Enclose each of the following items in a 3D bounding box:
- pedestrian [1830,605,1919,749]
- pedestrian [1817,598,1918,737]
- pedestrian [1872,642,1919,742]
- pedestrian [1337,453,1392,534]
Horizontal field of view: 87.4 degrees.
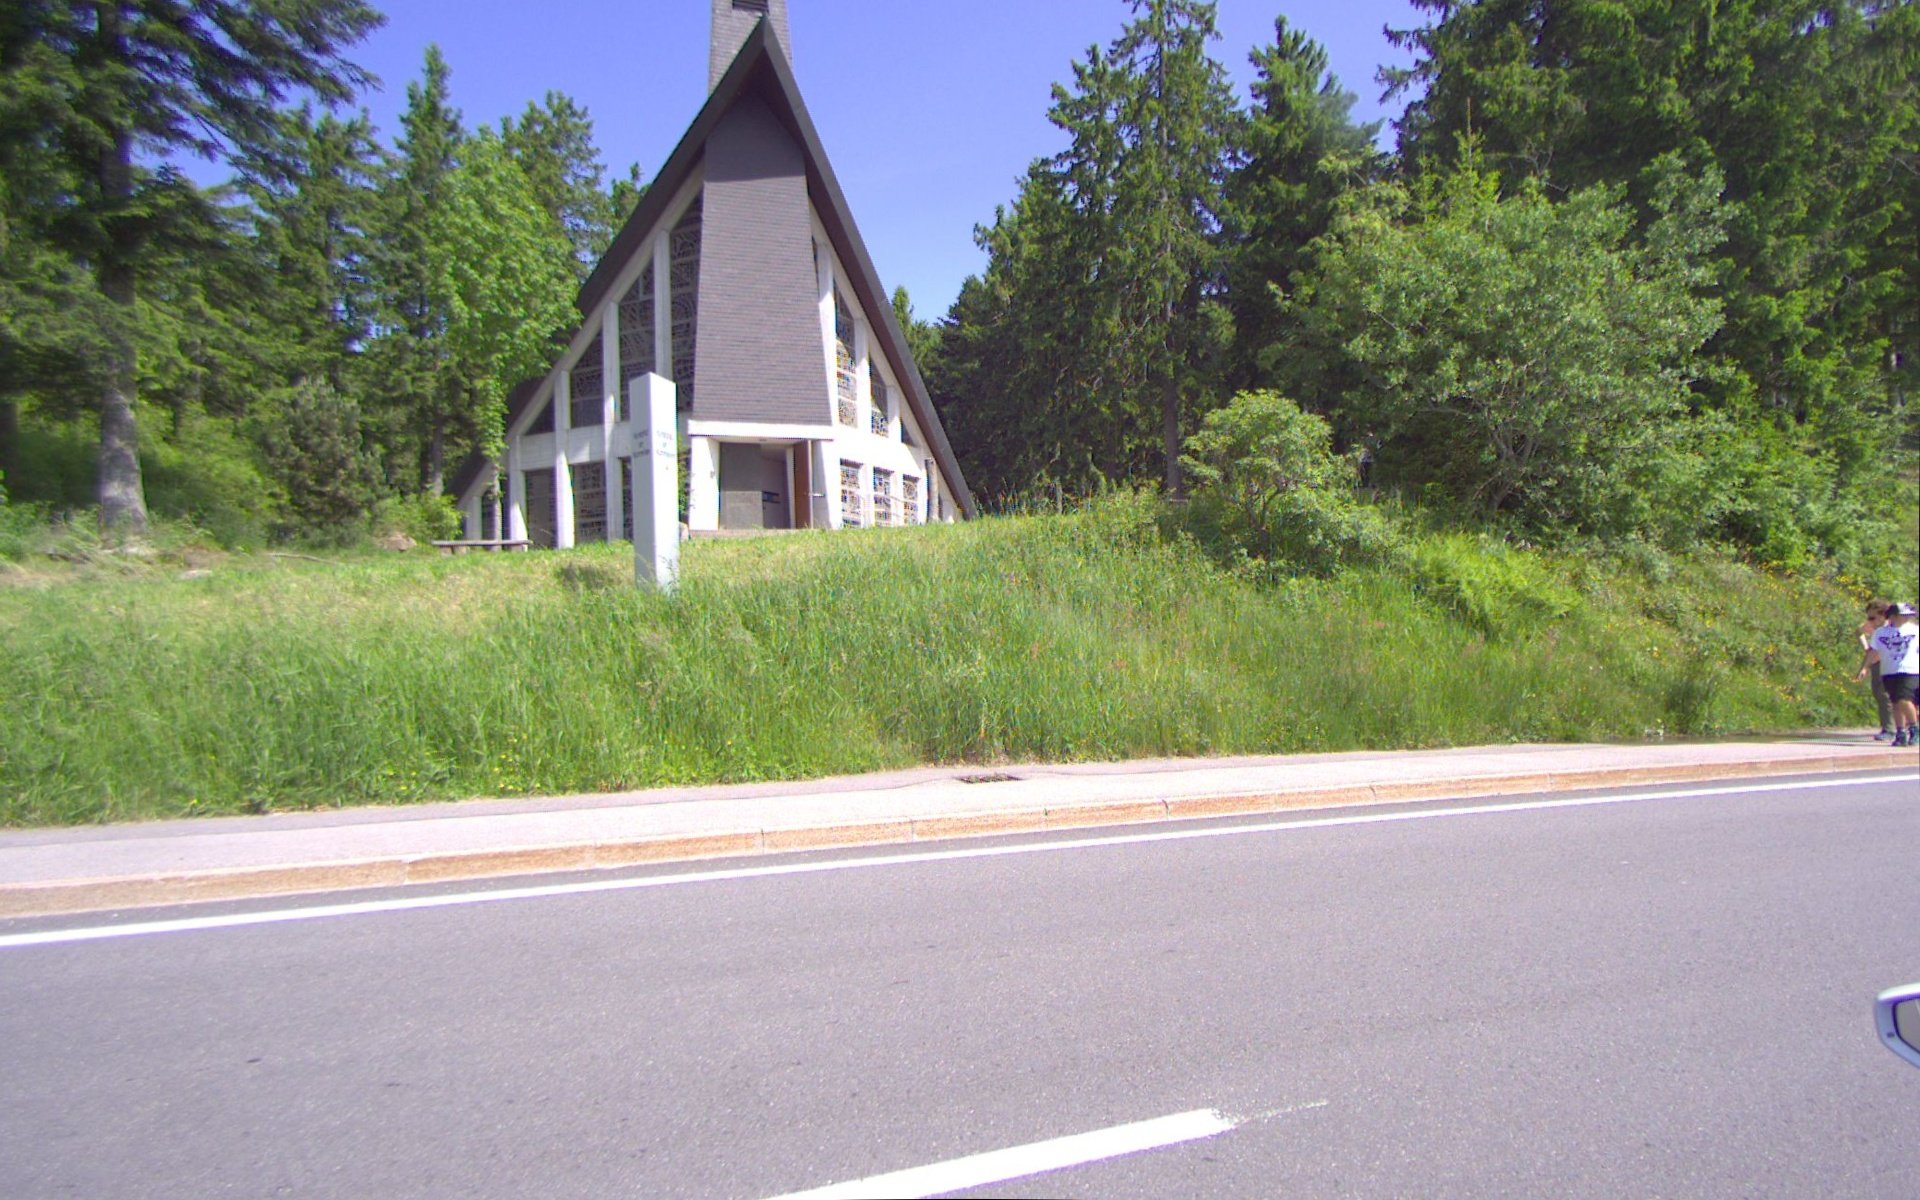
[{"bbox_3d":[10.410,0.840,11.332,0.867,1.558,0.579,1,-1,-22],"label":"pedestrian"},{"bbox_3d":[11.279,0.817,12.489,0.880,1.665,0.575,0,-1,-19],"label":"pedestrian"},{"bbox_3d":[11.222,1.061,11.724,0.733,1.116,0.568,0,-1,-19],"label":"pedestrian"},{"bbox_3d":[8.841,-2.313,21.967,0.732,1.651,0.806,1,0,-25],"label":"pedestrian"}]
